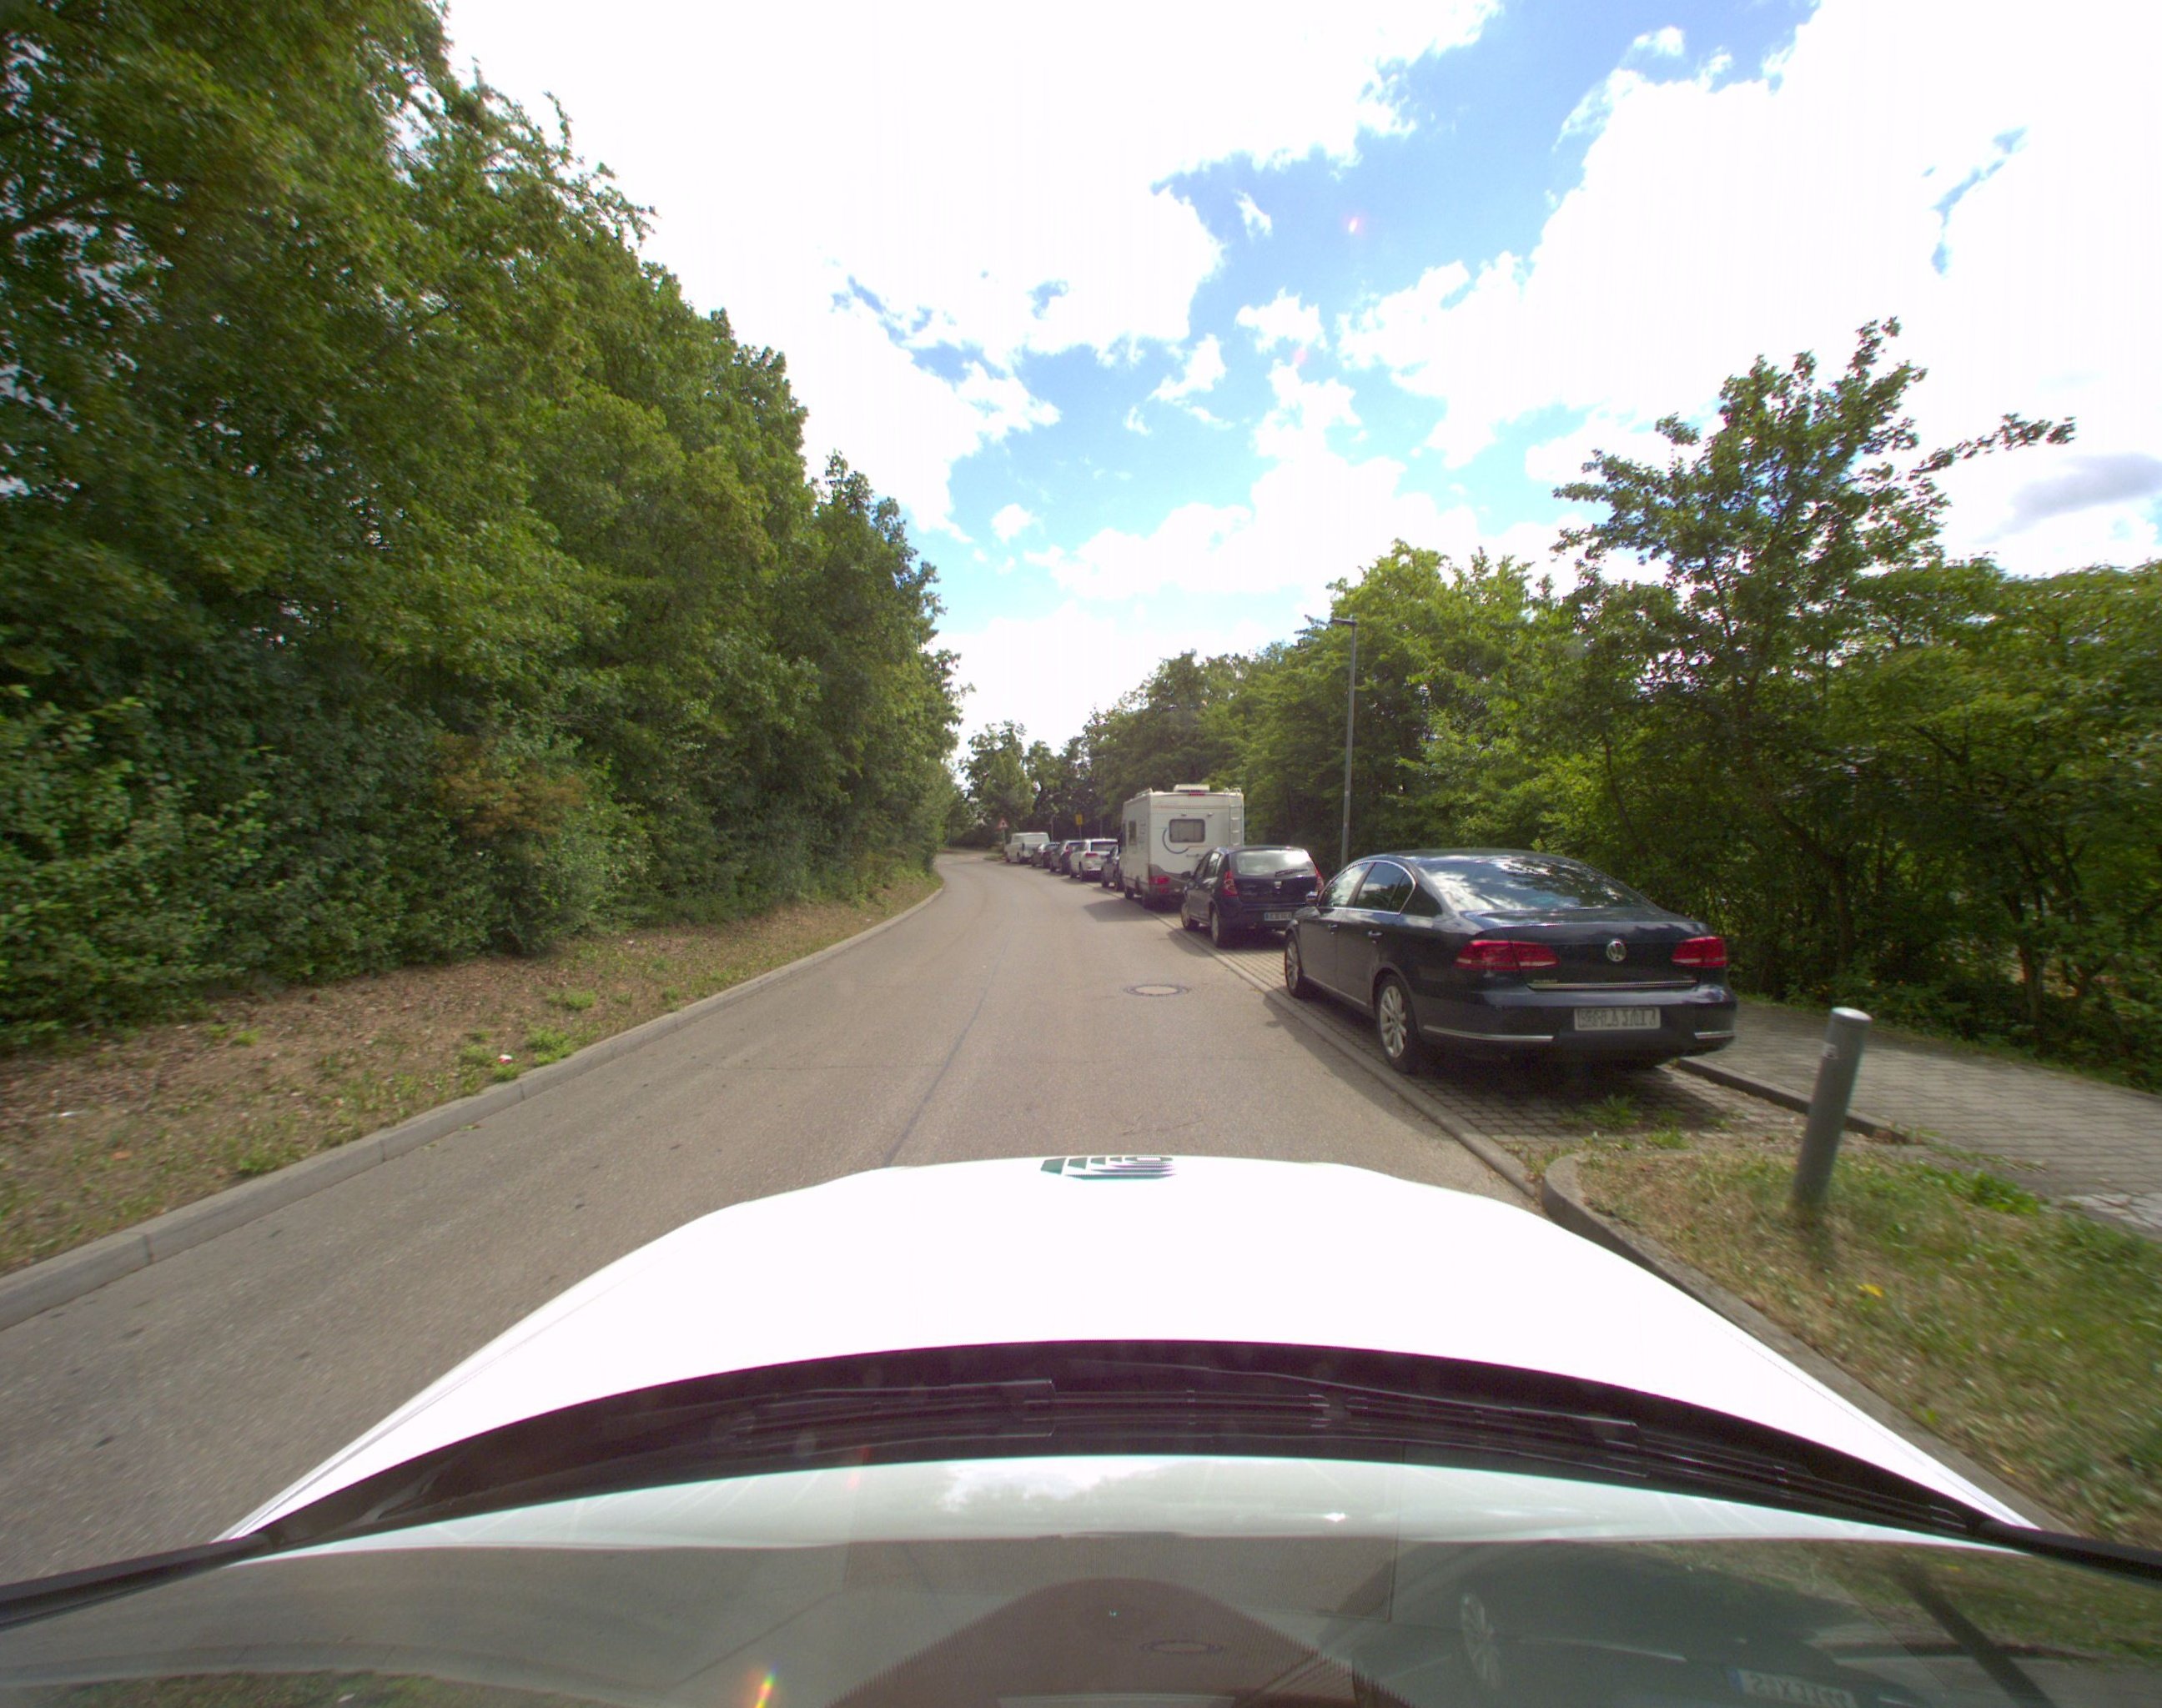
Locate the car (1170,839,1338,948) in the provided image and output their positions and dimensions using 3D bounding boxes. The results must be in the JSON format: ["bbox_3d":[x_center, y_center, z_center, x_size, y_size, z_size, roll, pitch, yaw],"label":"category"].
[{"bbox_3d":[2.707,0.579,13.644,1.725,1.519,3.883,-1,-1,-4],"label":"car"}]

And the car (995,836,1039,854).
[{"bbox_3d":[-5.567,-0.783,71.014,3.543,1.480,1.773,-1,3,-16],"label":"car"}]

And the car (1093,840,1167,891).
[{"bbox_3d":[1.582,0.336,27.515,1.710,1.591,3.988,0,0,-9],"label":"car"}]

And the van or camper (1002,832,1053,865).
[{"bbox_3d":[-3.515,-0.402,52.576,1.999,1.919,5.233,-2,2,-19],"label":"van or camper"}]

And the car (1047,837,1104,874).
[{"bbox_3d":[-0.347,0.022,40.411,1.994,1.626,4.262,-3,2,-11],"label":"car"}]

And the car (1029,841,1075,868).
[{"bbox_3d":[-1.719,0.001,47.000,1.801,1.464,3.980,-1,1,-15],"label":"car"}]

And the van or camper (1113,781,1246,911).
[{"bbox_3d":[2.311,-0.209,21.190,2.328,2.869,6.142,0,1,-4],"label":"van or camper"}]

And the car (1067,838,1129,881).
[{"bbox_3d":[0.626,0.165,34.474,1.871,1.689,4.566,0,1,-9],"label":"car"}]

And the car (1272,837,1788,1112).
[{"bbox_3d":[2.919,0.626,6.532,1.770,1.434,4.333,-1,0,0],"label":"car"}]
